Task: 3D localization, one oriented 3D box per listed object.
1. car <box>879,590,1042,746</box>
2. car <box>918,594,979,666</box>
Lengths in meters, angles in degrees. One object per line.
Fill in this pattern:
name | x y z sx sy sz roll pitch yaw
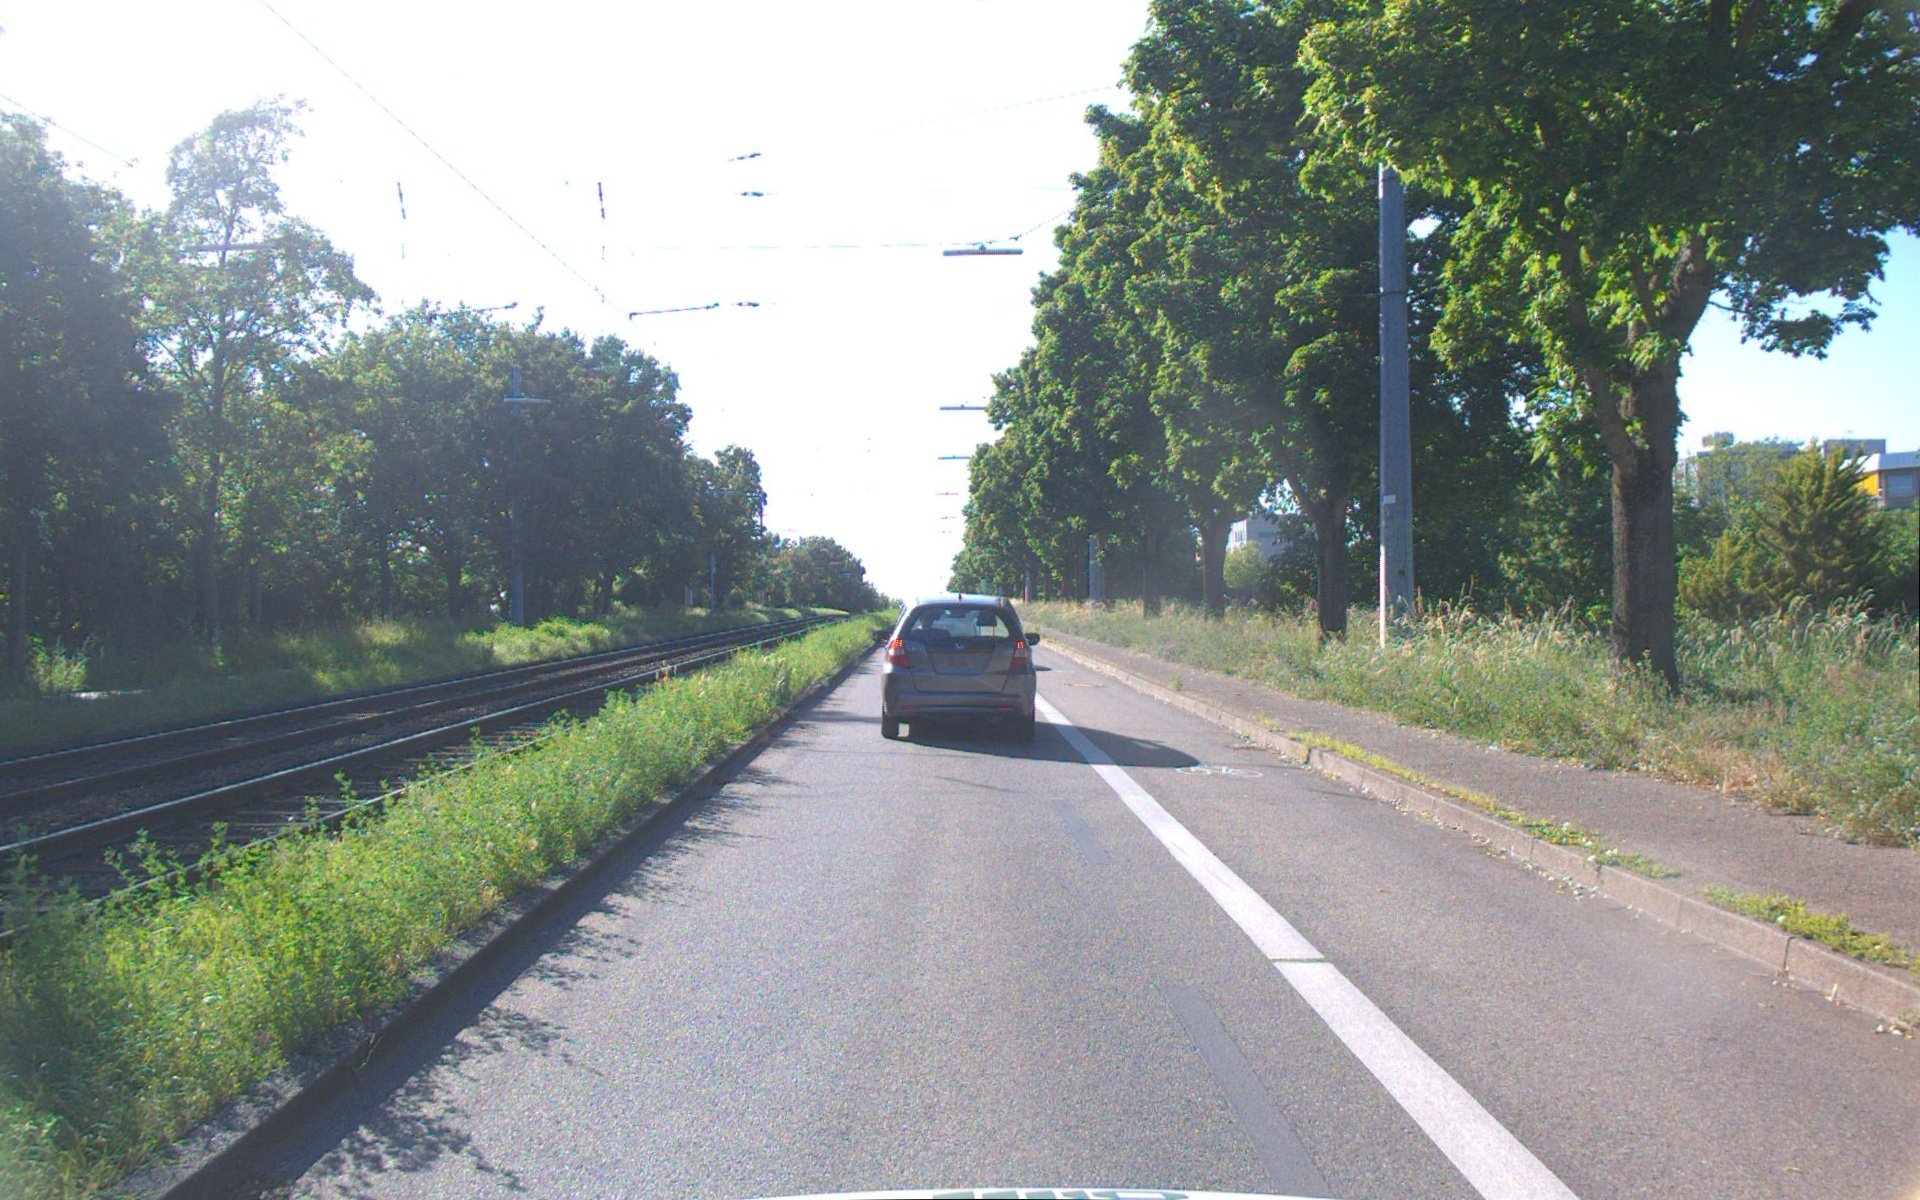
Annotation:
car | -0.060 0.683 18.733 1.637 1.542 3.672 1 1 -2
car | -0.246 0.687 37.956 1.323 1.554 3.123 -1 -1 0
